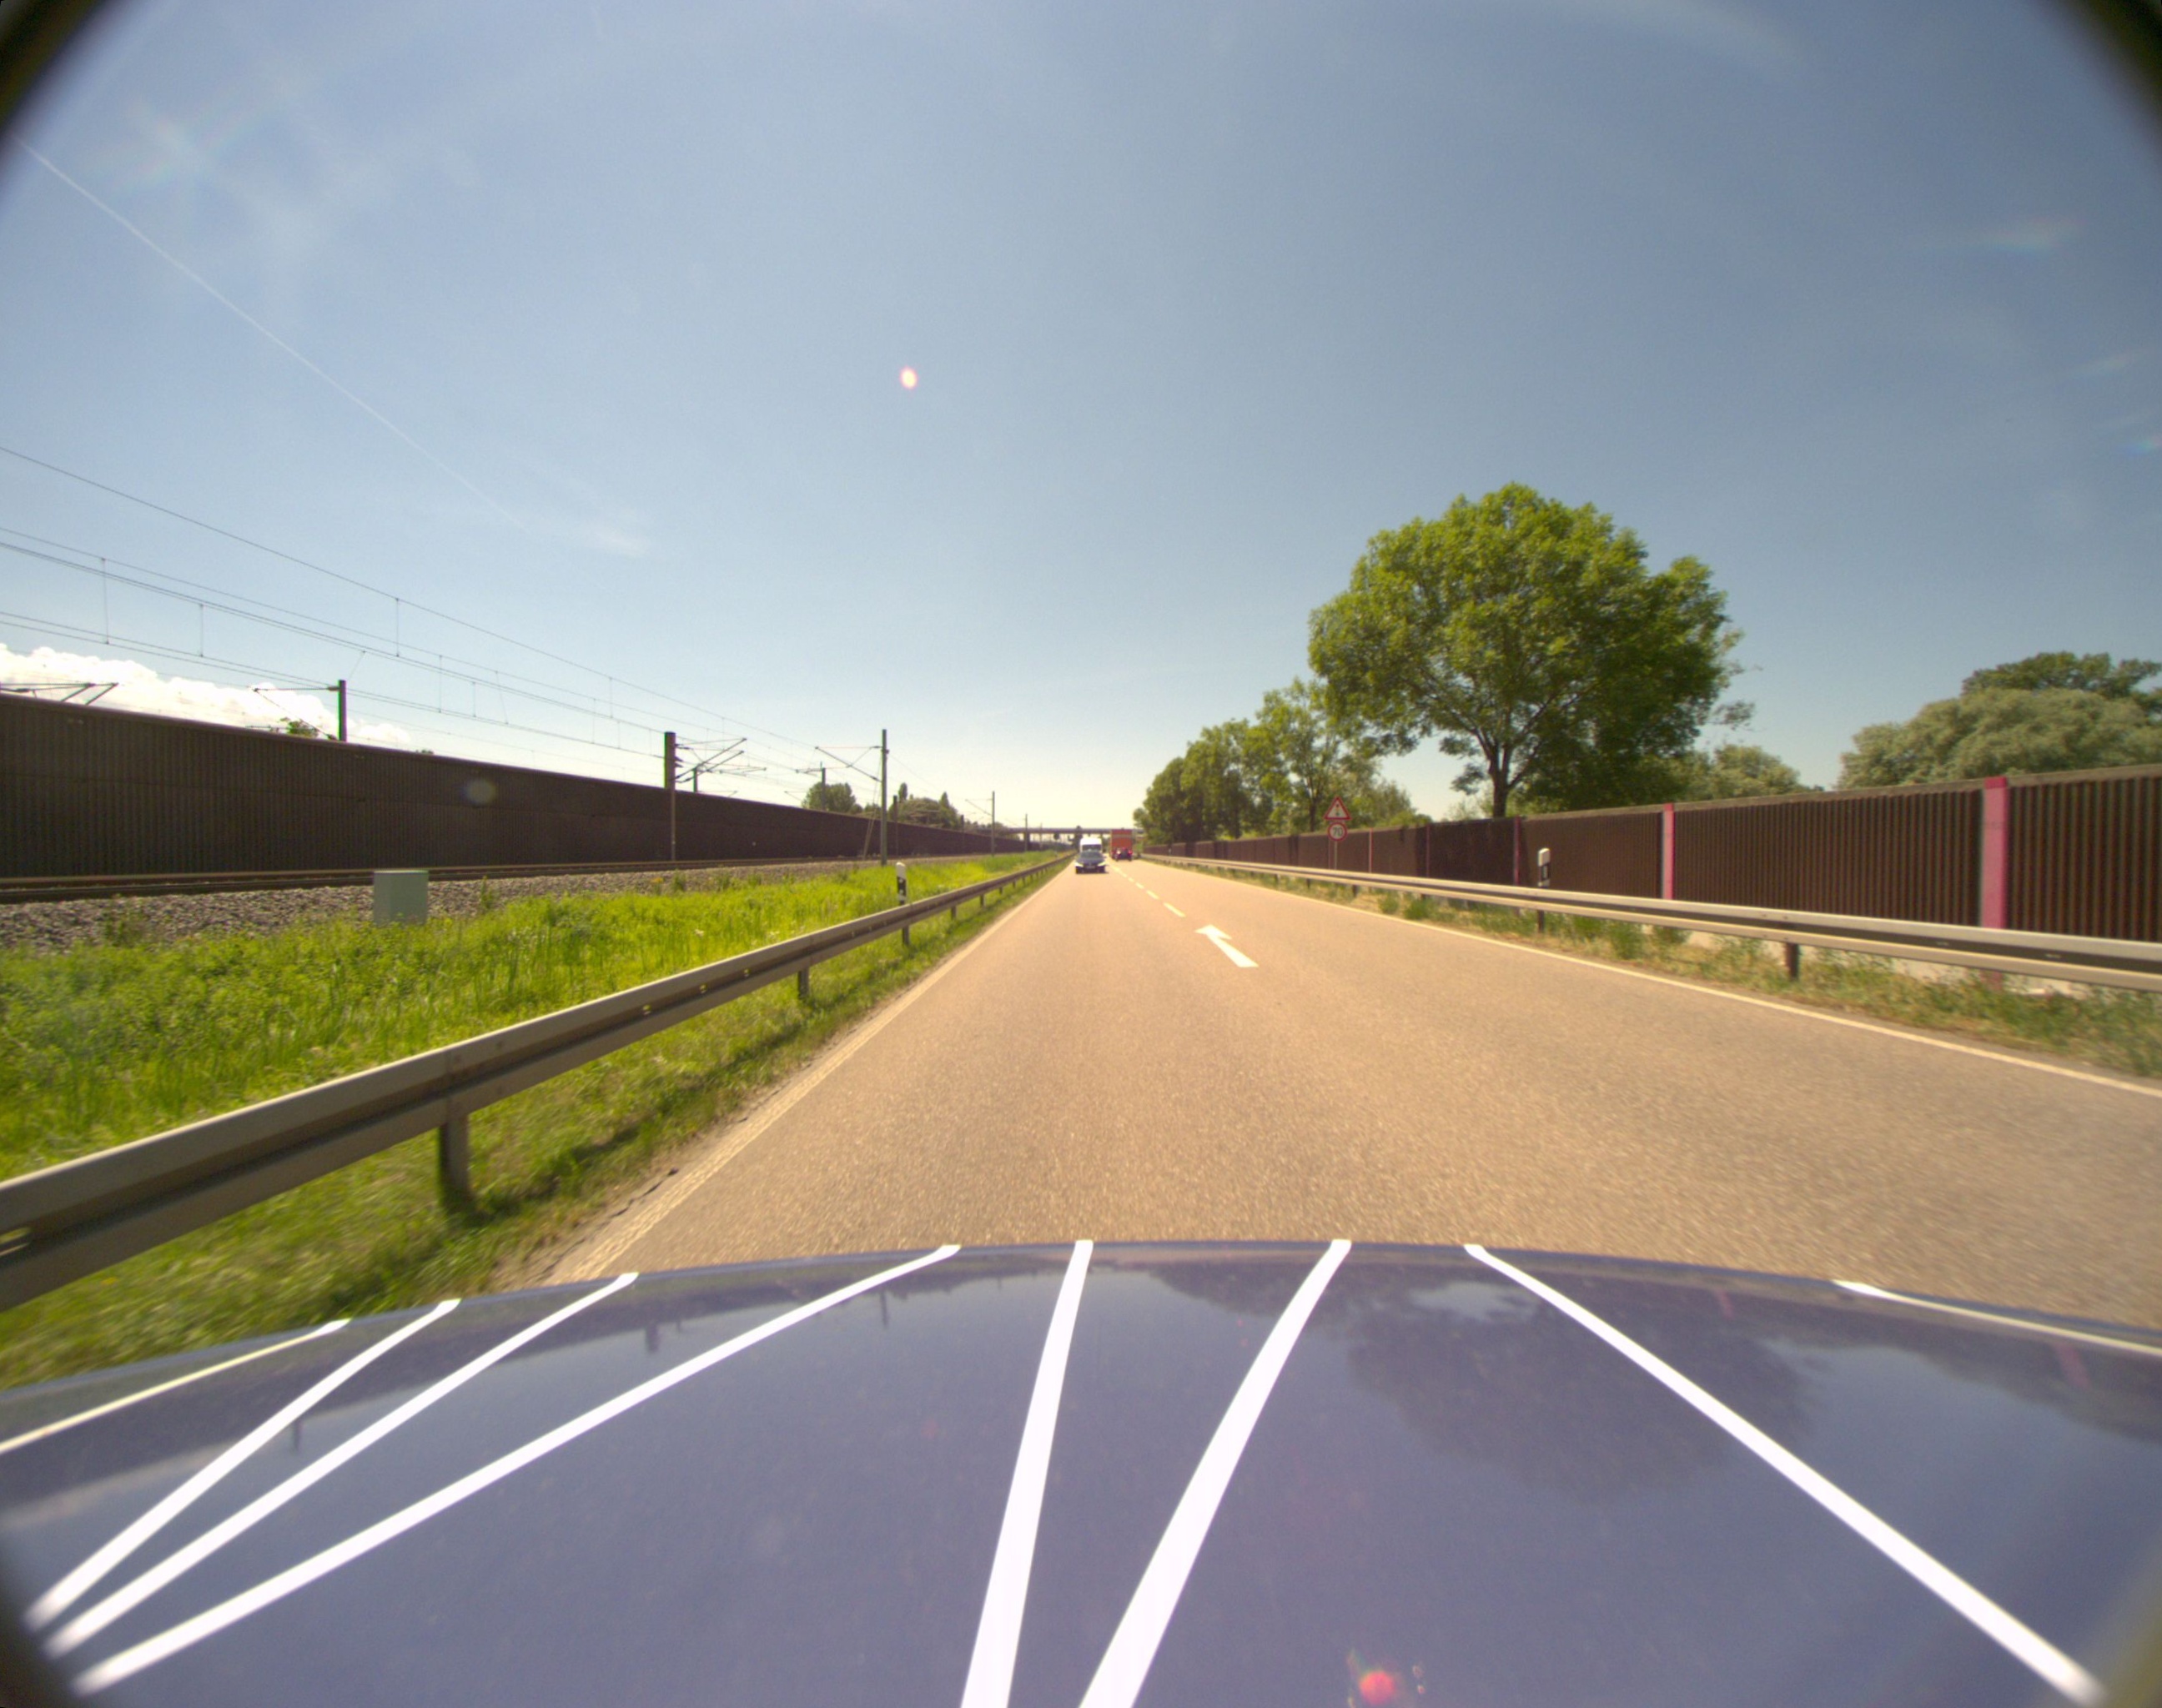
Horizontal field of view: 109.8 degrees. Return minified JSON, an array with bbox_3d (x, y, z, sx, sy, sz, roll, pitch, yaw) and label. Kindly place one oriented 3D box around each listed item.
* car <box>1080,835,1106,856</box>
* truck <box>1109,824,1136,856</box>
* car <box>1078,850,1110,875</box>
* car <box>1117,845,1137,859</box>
[{"bbox_3d":[1.059,-0.749,67.347,2.161,1.702,4.492,-2,1,1],"label":"car"},{"bbox_3d":[5.425,-1.805,100.694,3.132,3.942,9.717,-2,1,1],"label":"truck"},{"bbox_3d":[0.770,0.484,45.633,1.758,1.313,3.999,-2,1,1],"label":"car"},{"bbox_3d":[5.196,-0.227,86.893,1.994,1.486,4.492,-2,1,1],"label":"car"}]
